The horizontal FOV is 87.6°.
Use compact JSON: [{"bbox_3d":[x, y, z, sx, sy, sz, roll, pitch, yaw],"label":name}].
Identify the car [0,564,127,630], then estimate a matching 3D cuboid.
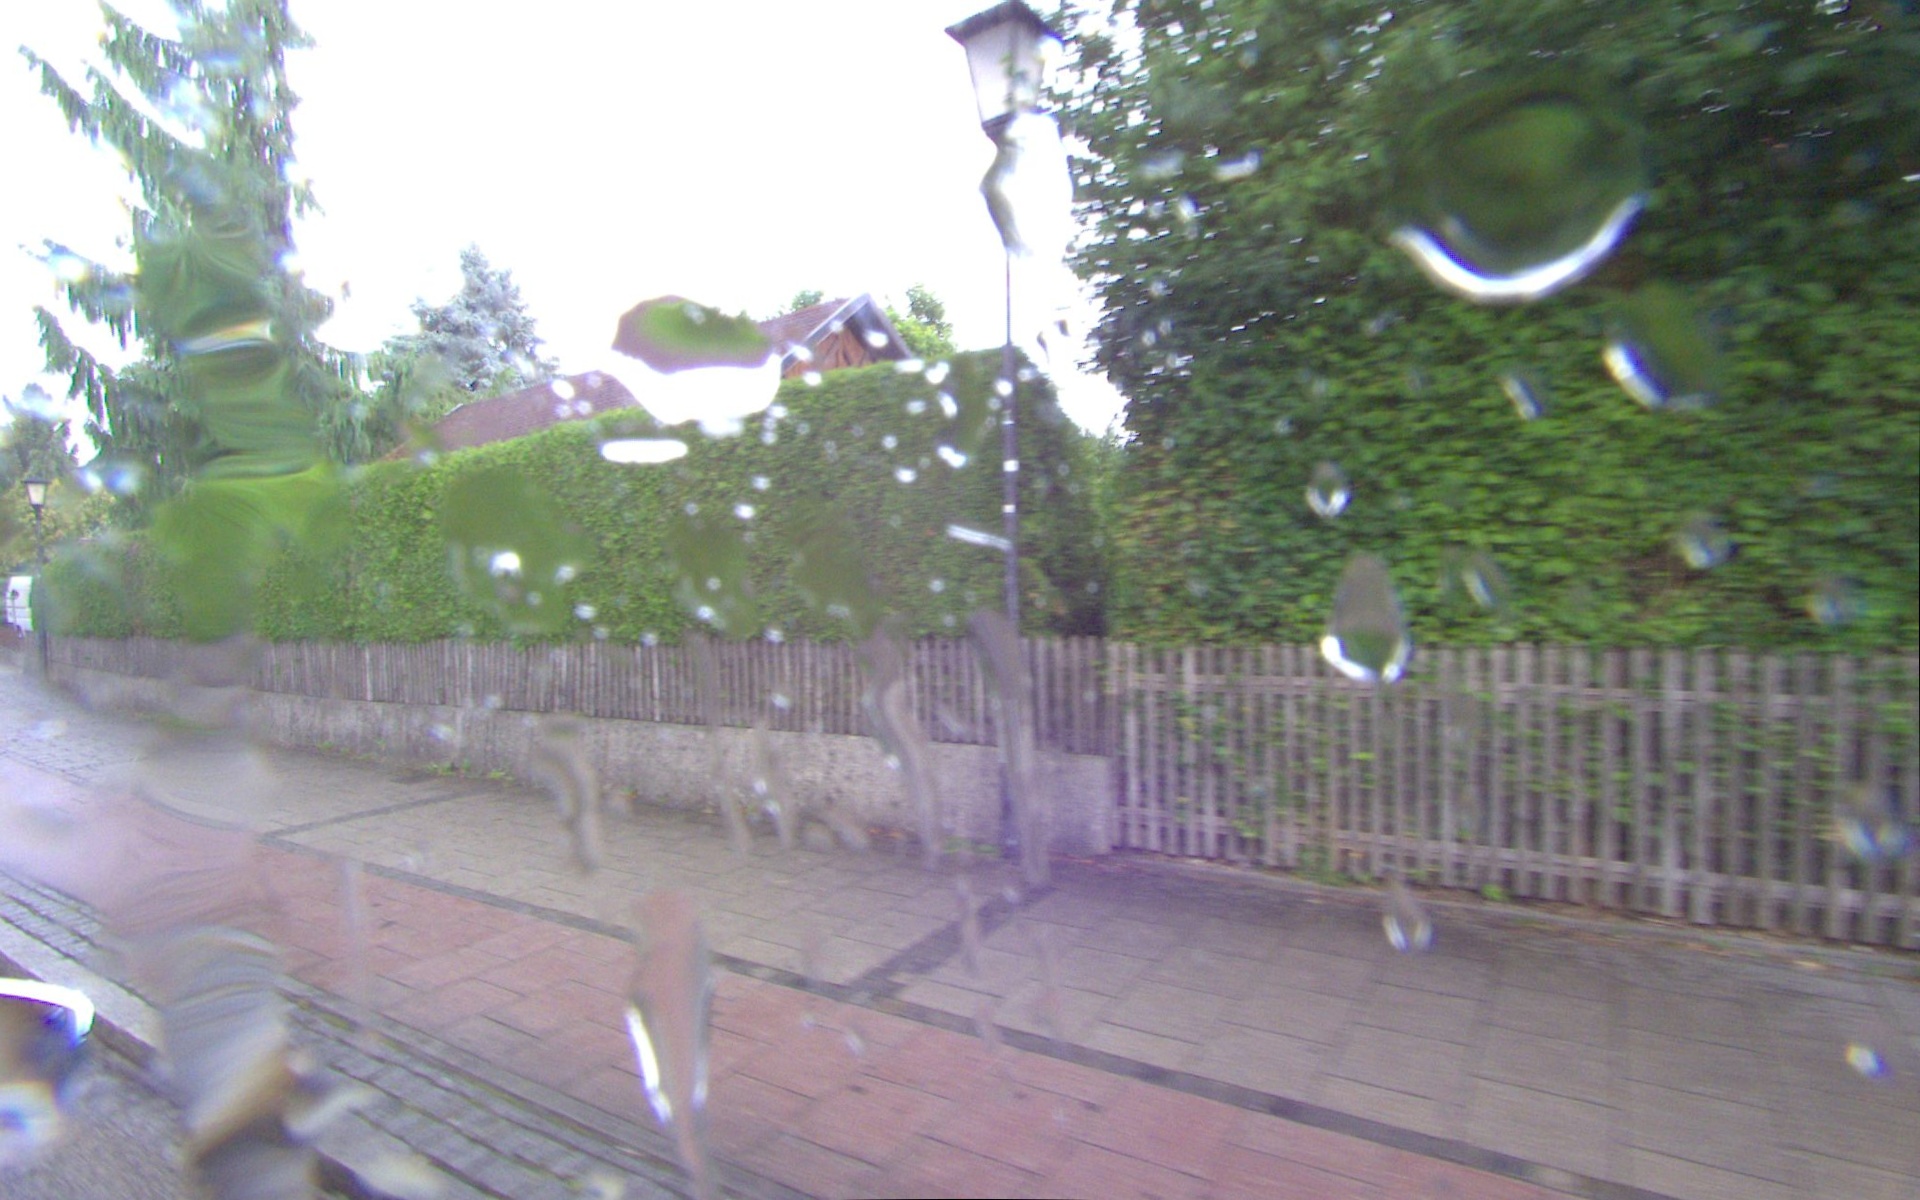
[{"bbox_3d":[-32.399,-0.030,36.164,4.878,2.201,1.992,-1,-2,30],"label":"car"}]
